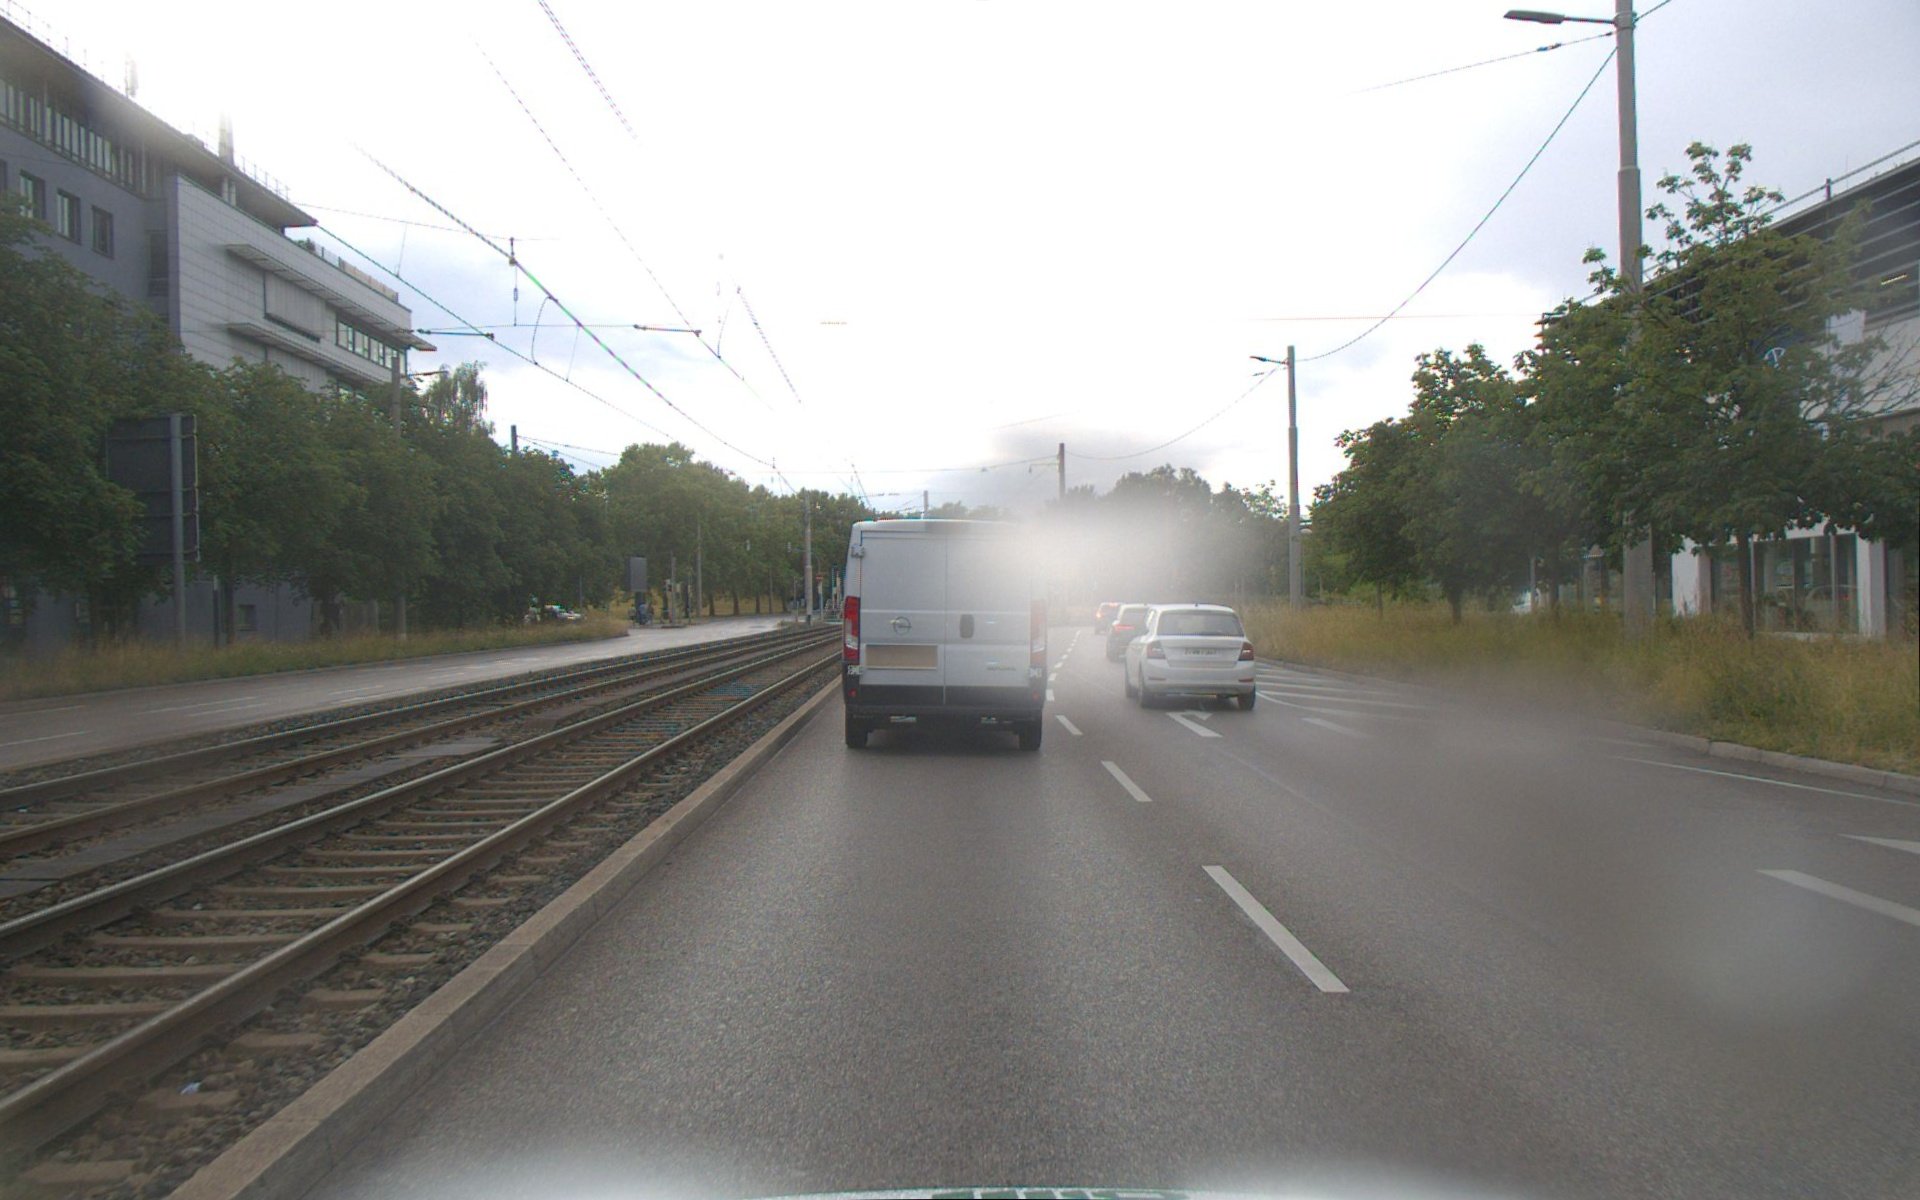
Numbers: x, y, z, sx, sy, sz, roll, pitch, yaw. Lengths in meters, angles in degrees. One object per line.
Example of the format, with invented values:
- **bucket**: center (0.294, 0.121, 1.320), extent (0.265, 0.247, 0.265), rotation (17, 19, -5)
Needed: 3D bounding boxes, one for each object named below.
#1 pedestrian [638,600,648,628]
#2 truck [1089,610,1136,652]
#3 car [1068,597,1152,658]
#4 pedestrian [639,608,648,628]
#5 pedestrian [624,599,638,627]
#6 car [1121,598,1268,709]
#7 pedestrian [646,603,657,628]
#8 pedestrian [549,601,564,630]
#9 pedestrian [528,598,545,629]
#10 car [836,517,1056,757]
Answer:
- **pedestrian**: center (-23.164, 1.027, 120.898), extent (0.485, 1.990, 0.722), rotation (1, 0, 4)
- **truck**: center (7.105, 1.421, 77.318), extent (1.952, 1.822, 4.416), rotation (-1, 0, 3)
- **car**: center (3.752, 0.672, 41.949), extent (1.753, 1.474, 3.999), rotation (0, 0, -1)
- **pedestrian**: center (-23.387, 1.317, 122.240), extent (0.485, 1.499, 0.722), rotation (1, 0, 2)
- **pedestrian**: center (-24.251, 0.955, 121.995), extent (0.869, 2.049, 0.865), rotation (-1, 0, -5)
- **car**: center (3.418, 0.736, 24.655), extent (1.710, 1.483, 3.671), rotation (1, 0, 1)
- **pedestrian**: center (-22.494, 1.149, 120.620), extent (0.495, 1.818, 0.832), rotation (1, 0, 4)
- **pedestrian**: center (-25.249, 0.943, 103.510), extent (0.710, 1.786, 0.877), rotation (1, 0, 2)
- **pedestrian**: center (-26.484, 0.850, 103.363), extent (0.620, 1.900, 0.954), rotation (-1, 0, 15)
- **car**: center (-0.210, 0.337, 18.149), extent (2.048, 2.235, 5.059), rotation (1, 0, -2)
